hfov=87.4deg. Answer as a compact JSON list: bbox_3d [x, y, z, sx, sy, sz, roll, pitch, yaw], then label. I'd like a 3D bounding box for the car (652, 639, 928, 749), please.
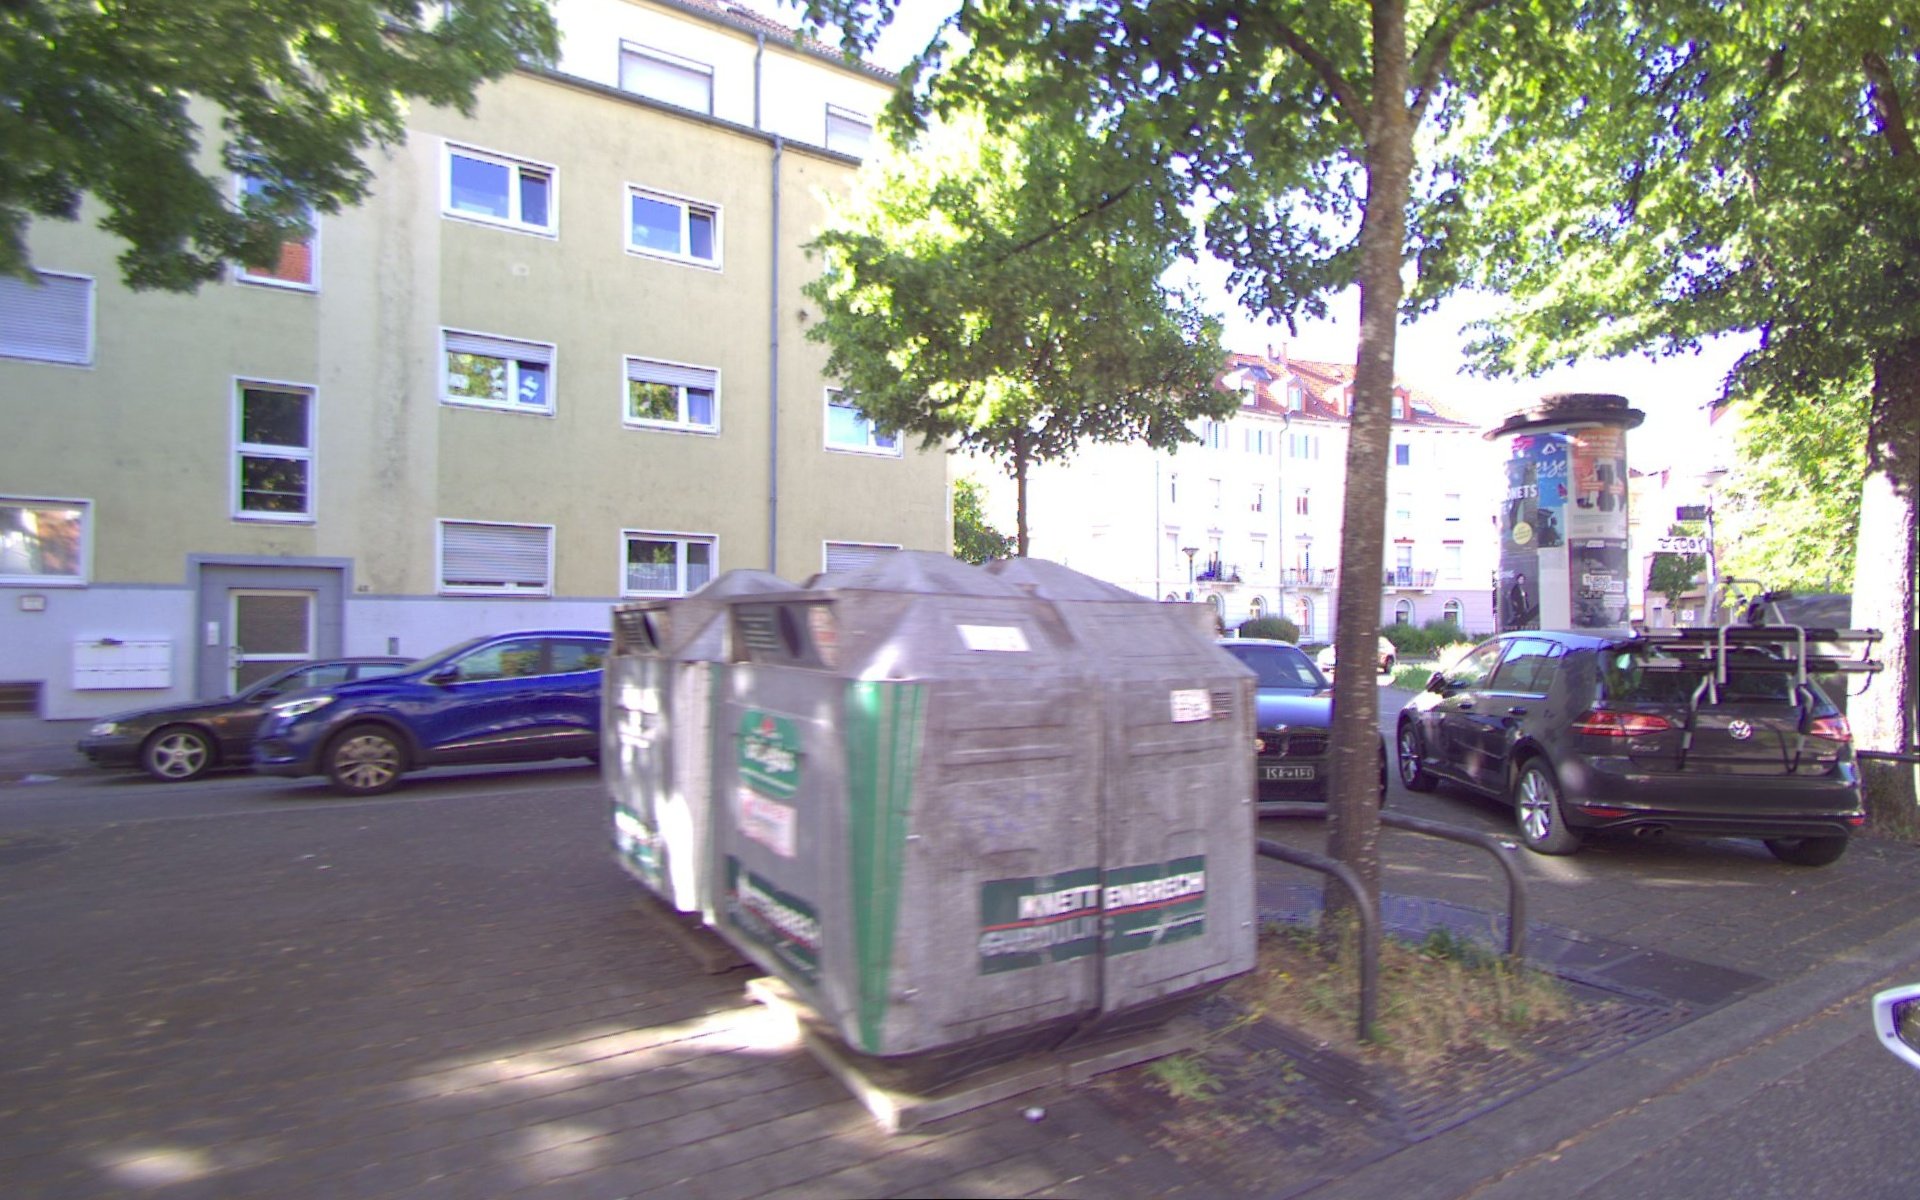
[{"bbox_3d":[-2.658,1.410,16.119,4.123,1.546,1.520,1,-2,-34],"label":"car"}]

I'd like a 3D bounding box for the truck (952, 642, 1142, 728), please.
[{"bbox_3d":[1.662,1.532,18.856,3.379,1.454,1.521,1,-2,-34],"label":"truck"}]

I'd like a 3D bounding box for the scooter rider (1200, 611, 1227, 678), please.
[{"bbox_3d":[7.557,1.317,29.971,0.548,1.959,0.616,0,-2,-13],"label":"scooter rider"}]

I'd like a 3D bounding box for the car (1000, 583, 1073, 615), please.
[{"bbox_3d":[3.817,-0.048,50.352,3.340,1.485,1.487,-1,-2,24],"label":"car"}]

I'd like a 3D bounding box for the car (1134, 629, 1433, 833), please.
[{"bbox_3d":[2.612,0.988,9.085,1.751,1.421,4.003,0,-2,5],"label":"car"}]

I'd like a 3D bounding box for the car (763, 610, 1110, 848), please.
[{"bbox_3d":[-0.439,0.881,8.361,1.621,1.485,3.780,1,-2,-23],"label":"car"}]

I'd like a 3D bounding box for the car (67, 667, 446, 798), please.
[{"bbox_3d":[-8.443,1.527,12.404,3.601,1.338,1.577,1,-4,-33],"label":"car"}]

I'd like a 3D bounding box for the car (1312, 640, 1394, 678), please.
[{"bbox_3d":[17.790,2.621,45.384,4.100,1.628,1.974,2,-3,-45],"label":"car"}]

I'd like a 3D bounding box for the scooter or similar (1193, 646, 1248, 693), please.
[{"bbox_3d":[7.670,2.018,29.652,0.555,1.328,2.116,0,-2,-16],"label":"scooter or similar"}]

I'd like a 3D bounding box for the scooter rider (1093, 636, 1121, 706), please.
[{"bbox_3d":[3.308,1.591,22.633,0.595,1.549,0.526,0,-2,6],"label":"scooter rider"}]

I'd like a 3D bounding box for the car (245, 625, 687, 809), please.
[{"bbox_3d":[-5.143,1.098,10.716,3.966,1.601,1.734,1,-3,-39],"label":"car"}]

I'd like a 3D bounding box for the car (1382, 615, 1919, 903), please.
[{"bbox_3d":[4.663,0.920,7.557,1.740,1.501,4.145,1,-2,8],"label":"car"}]
